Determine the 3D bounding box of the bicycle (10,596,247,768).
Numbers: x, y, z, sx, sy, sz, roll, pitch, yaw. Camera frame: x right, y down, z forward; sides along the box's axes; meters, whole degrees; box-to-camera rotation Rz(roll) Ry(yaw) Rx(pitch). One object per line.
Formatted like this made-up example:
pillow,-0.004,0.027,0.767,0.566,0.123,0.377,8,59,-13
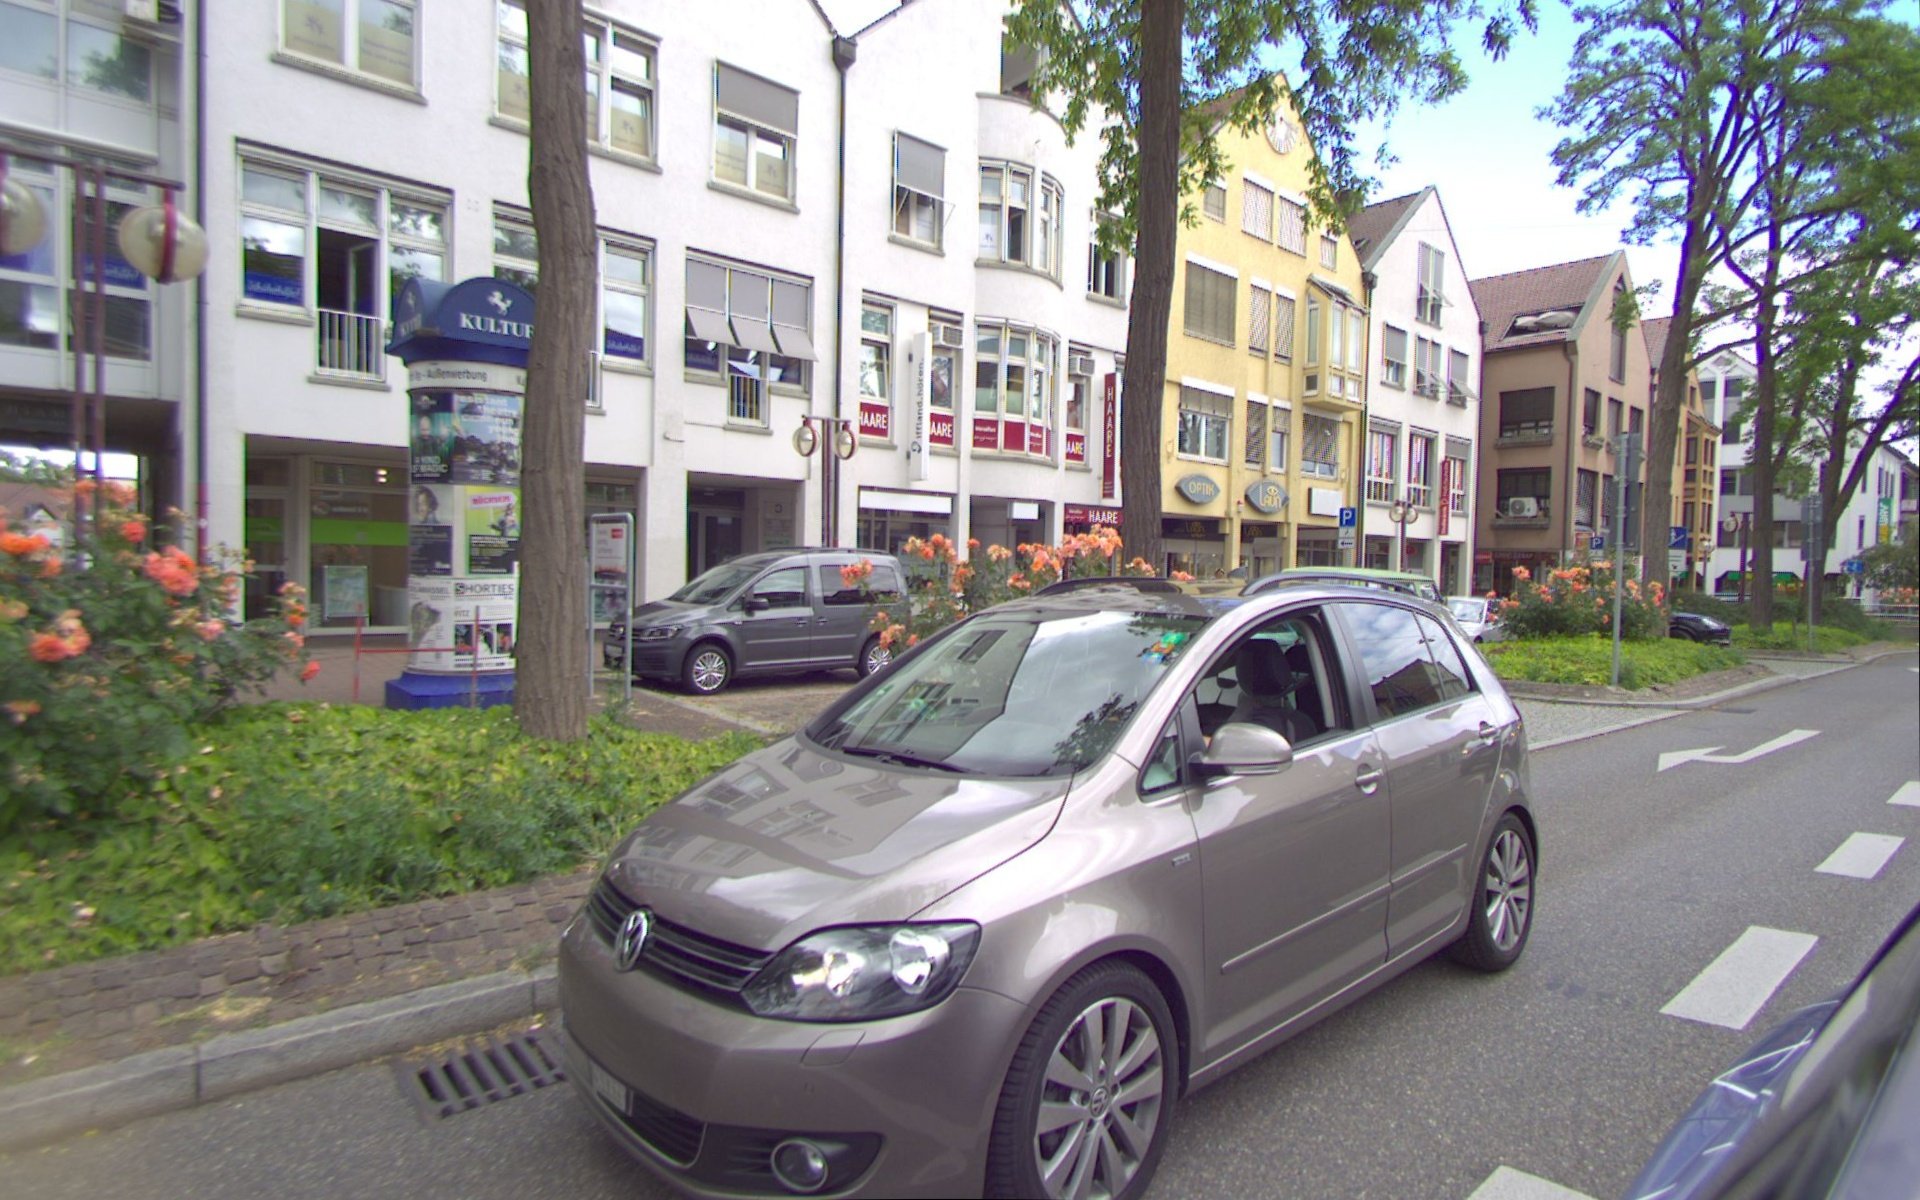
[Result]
bicycle,-5.937,0.531,7.338,0.399,1.061,1.569,1,2,1

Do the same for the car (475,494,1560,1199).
car,0.570,0.590,3.749,3.932,1.549,1.799,0,0,-43

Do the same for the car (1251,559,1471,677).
car,7.657,0.239,19.099,4.674,1.899,1.996,-1,4,-43

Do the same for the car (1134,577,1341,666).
car,5.837,0.351,20.932,4.675,1.566,1.996,-1,4,-44

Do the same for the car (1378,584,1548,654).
car,11.321,0.348,22.615,4.673,1.325,1.841,-1,4,-43

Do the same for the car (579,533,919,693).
car,-2.717,0.106,13.675,4.189,1.826,1.737,0,3,-43

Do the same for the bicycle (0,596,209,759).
bicycle,-6.516,0.528,7.700,0.399,1.061,1.569,1,2,1

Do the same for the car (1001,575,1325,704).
car,2.832,0.451,15.099,1.709,1.471,4.648,0,3,-40

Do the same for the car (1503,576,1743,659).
car,16.460,0.370,25.263,4.736,1.699,1.970,4,2,42

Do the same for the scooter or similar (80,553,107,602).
scooter or similar,-22.148,-0.586,25.857,0.489,1.208,1.502,0,1,-42
